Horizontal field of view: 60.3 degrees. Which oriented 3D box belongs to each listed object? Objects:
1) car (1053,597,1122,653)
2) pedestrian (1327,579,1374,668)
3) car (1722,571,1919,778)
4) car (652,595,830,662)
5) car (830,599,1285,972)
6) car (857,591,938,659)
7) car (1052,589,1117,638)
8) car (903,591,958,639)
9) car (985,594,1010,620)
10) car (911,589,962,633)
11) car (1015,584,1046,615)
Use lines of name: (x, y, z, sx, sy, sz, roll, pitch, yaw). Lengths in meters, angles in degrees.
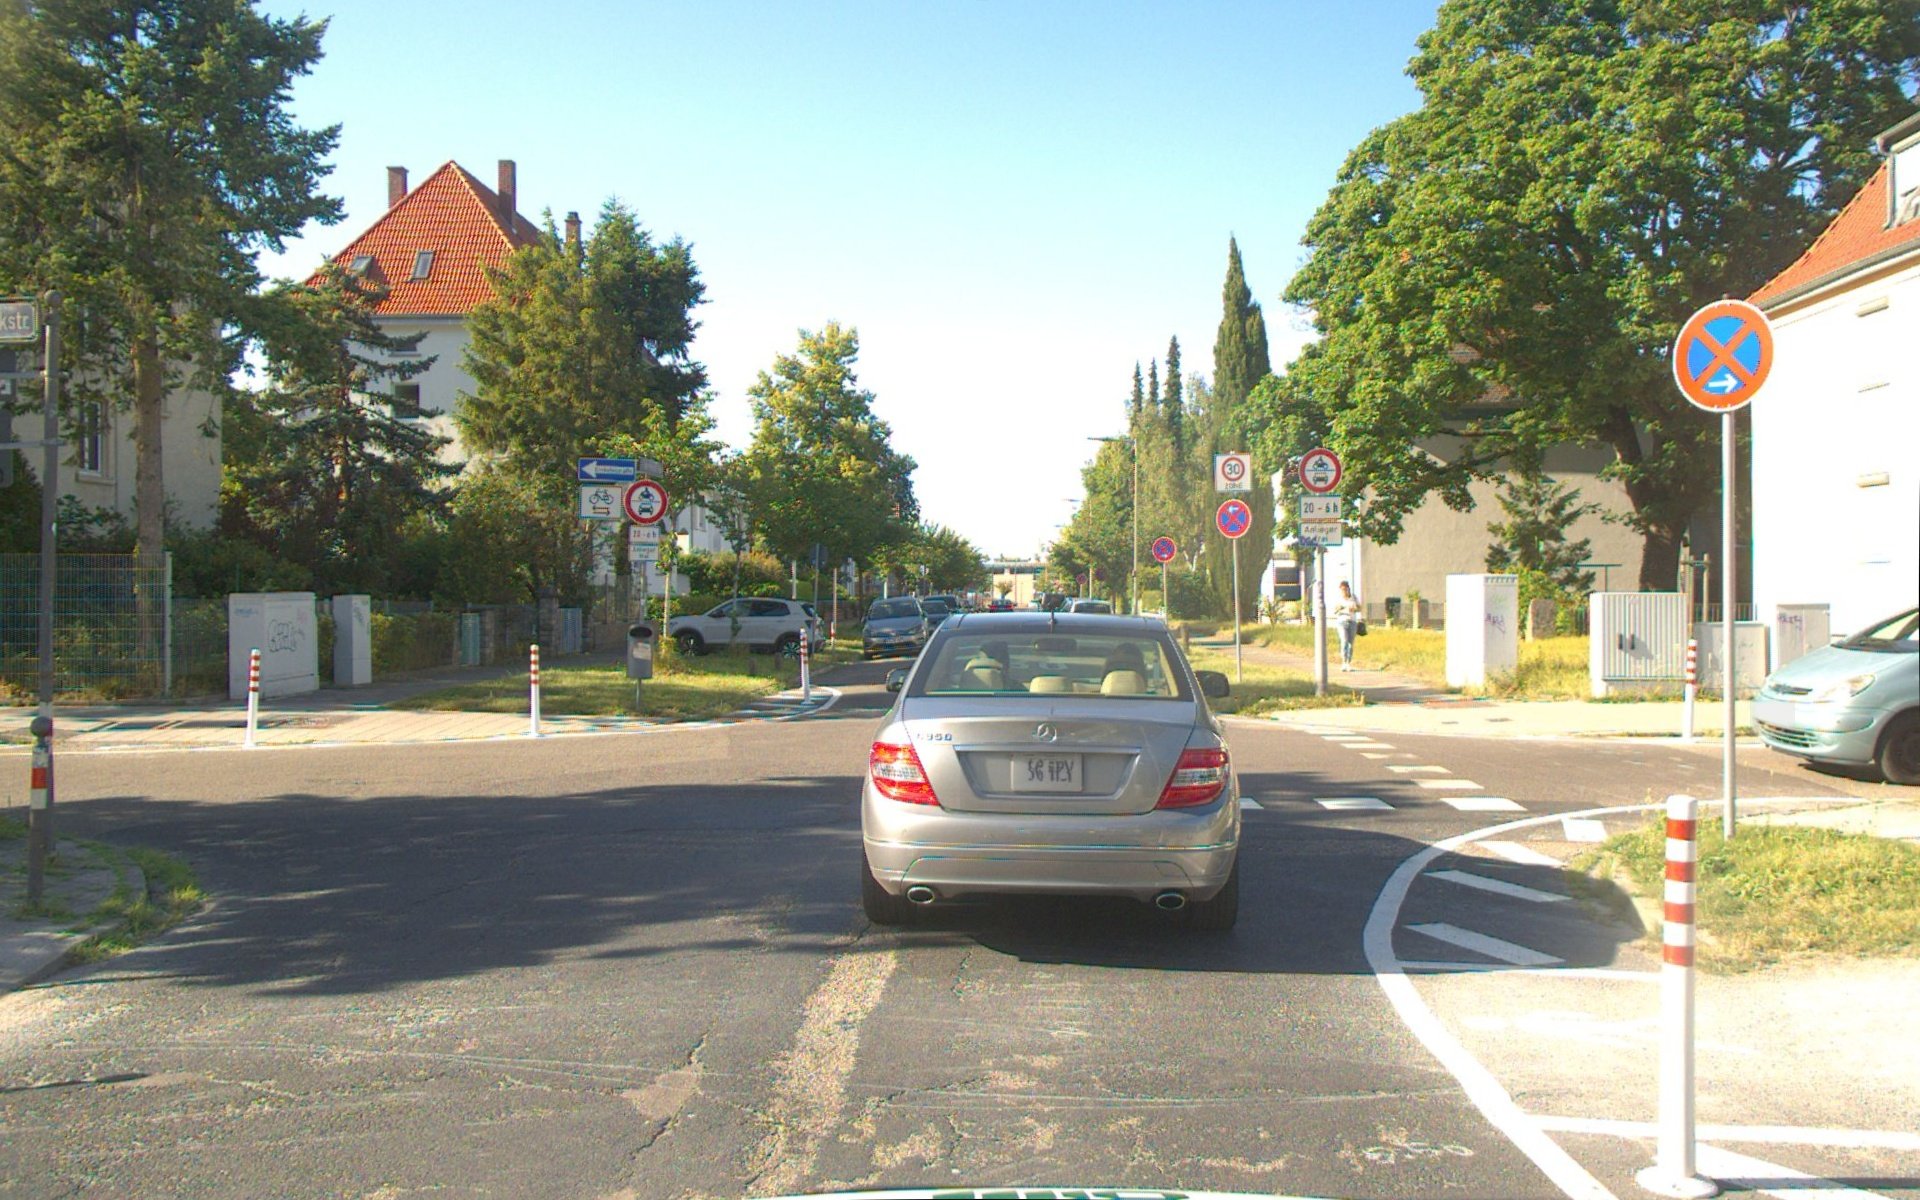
car: (3.630, 0.687, 47.611, 1.698, 1.505, 3.725, -1, 0, 0)
pedestrian: (7.341, 0.435, 31.135, 0.750, 1.639, 0.835, -1, 0, 7)
car: (8.954, 0.563, 13.995, 4.145, 1.636, 1.889, -1, 0, 3)
car: (-5.288, 0.672, 40.393, 4.107, 1.591, 1.842, 0, 0, -1)
car: (0.487, 0.730, 8.571, 1.798, 1.466, 4.002, 0, 0, 3)
car: (-1.668, 0.649, 45.448, 1.953, 1.637, 4.000, -4, 0, 0)
car: (4.358, 0.456, 58.439, 1.953, 1.638, 4.000, -1, 0, 0)
car: (-1.102, 0.541, 63.254, 1.953, 1.637, 4.000, -4, 0, 0)
car: (2.520, 0.466, 111.025, 1.564, 1.638, 3.644, -1, 0, 0)
car: (-0.944, 0.445, 69.048, 1.953, 1.637, 4.000, -4, 0, 0)
car: (4.400, -0.017, 103.186, 1.816, 1.873, 4.001, -1, 0, 1)
